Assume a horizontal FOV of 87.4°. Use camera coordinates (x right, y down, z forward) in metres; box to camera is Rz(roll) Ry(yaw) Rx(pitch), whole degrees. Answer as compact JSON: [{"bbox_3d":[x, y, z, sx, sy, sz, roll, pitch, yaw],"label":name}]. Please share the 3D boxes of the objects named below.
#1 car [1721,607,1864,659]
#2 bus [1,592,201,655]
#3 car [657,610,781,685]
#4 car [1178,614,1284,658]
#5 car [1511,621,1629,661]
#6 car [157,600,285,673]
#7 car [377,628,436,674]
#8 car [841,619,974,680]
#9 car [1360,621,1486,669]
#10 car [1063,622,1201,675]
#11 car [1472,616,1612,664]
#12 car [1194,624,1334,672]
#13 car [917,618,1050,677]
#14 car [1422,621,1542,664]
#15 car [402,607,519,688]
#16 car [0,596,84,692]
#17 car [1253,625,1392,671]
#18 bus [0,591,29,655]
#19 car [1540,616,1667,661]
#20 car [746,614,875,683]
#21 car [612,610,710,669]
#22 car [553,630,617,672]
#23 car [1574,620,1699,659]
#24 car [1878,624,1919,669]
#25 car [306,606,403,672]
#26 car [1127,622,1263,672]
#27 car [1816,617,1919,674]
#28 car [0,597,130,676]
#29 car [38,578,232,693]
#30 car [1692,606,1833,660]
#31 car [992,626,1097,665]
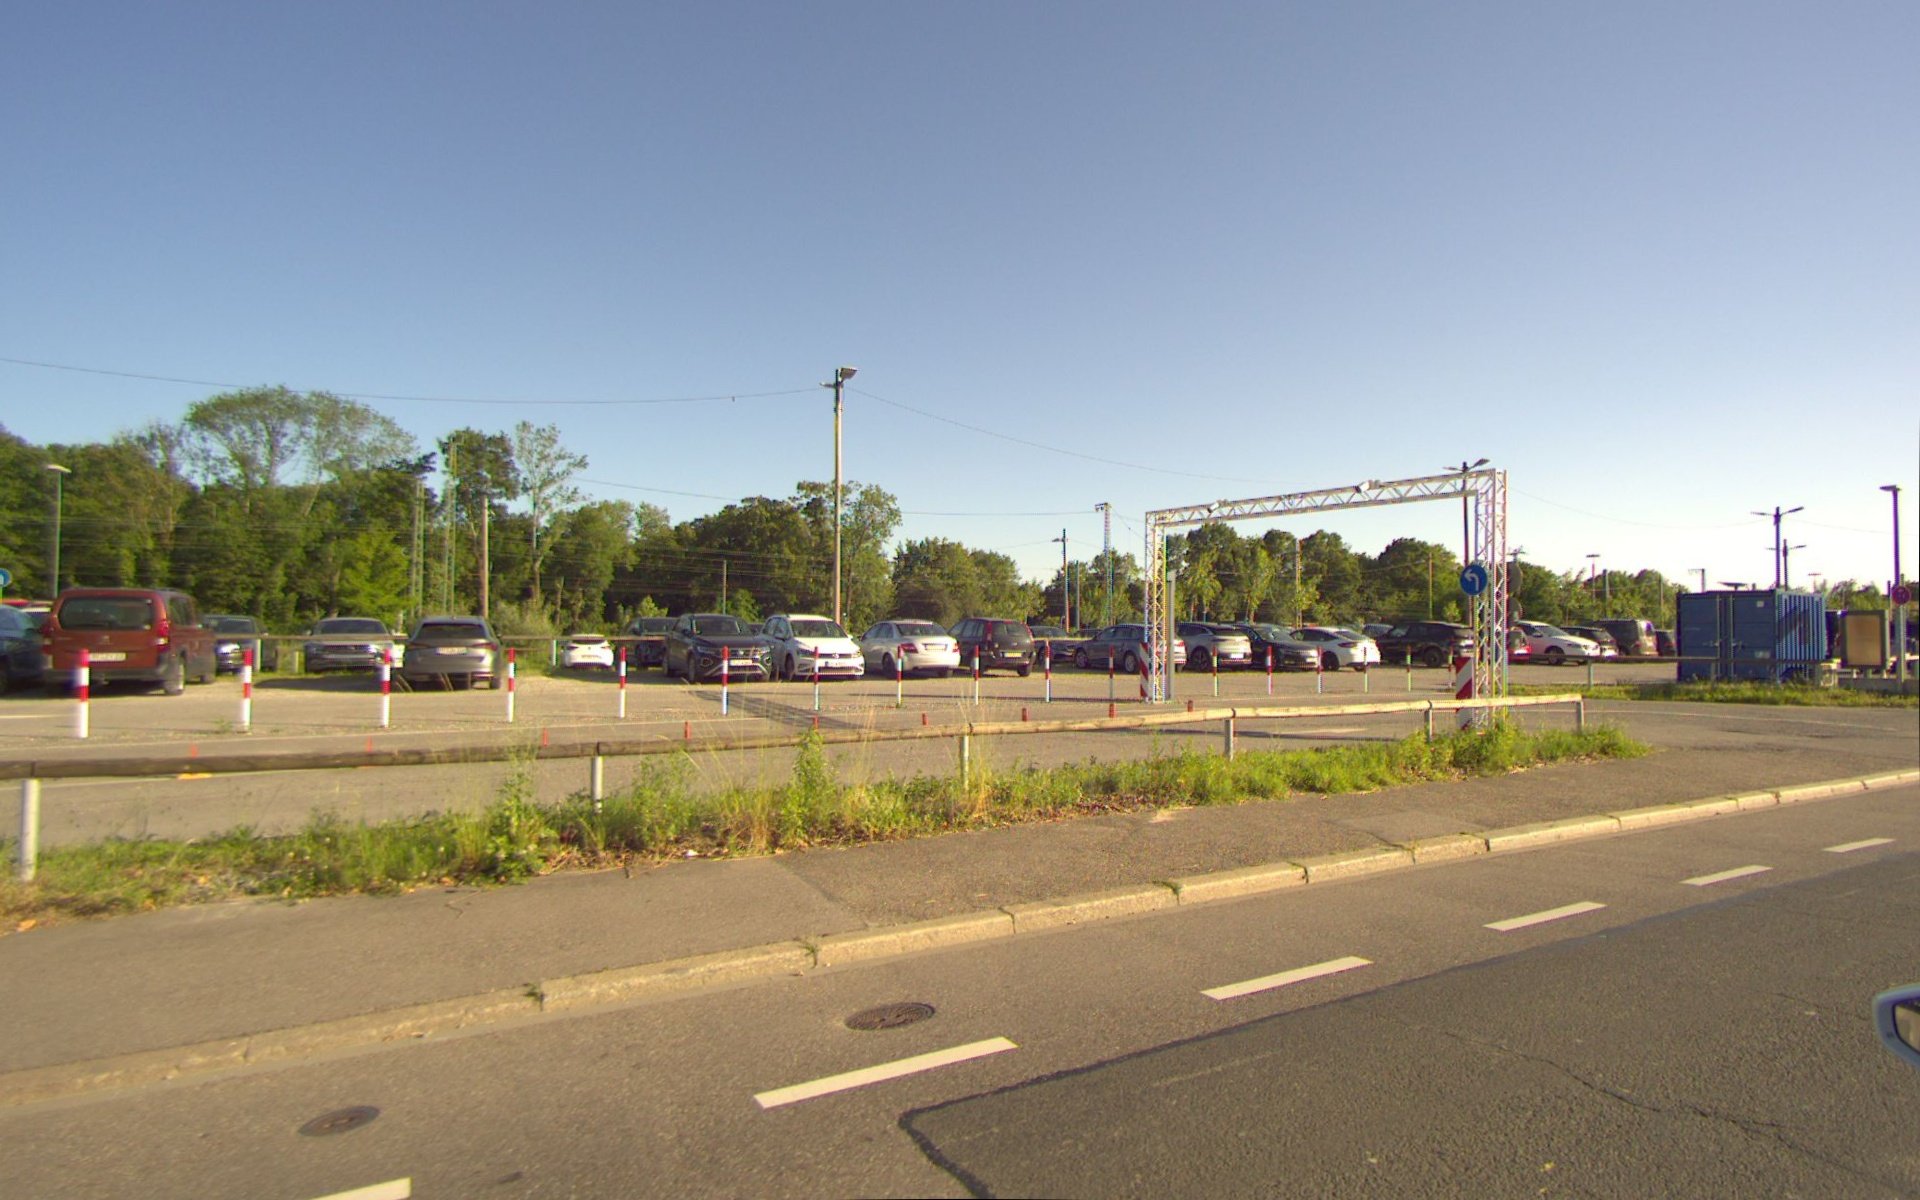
[{"bbox_3d":[41.653,1.604,50.379,2.292,2.492,5.074,1,-1,-29],"label":"car"},{"bbox_3d":[-33.850,0.968,39.849,5.519,2.379,2.530,1,-2,-28],"label":"bus"},{"bbox_3d":[-5.855,1.051,23.987,1.834,1.606,4.558,1,-1,-28],"label":"car"},{"bbox_3d":[10.517,1.360,39.215,1.855,1.625,3.867,1,-1,-28],"label":"car"},{"bbox_3d":[25.607,1.691,42.284,1.856,1.540,3.865,1,-1,-29],"label":"car"},{"bbox_3d":[-16.925,0.804,23.196,1.914,1.528,3.969,1,-1,-30],"label":"car"},{"bbox_3d":[-19.165,1.736,34.783,1.705,1.501,3.592,1,-2,-29],"label":"car"},{"bbox_3d":[-1.459,1.237,26.232,1.855,1.412,4.305,1,-1,-28],"label":"car"},{"bbox_3d":[16.932,1.593,36.882,1.856,1.625,3.865,1,-1,-29],"label":"car"},{"bbox_3d":[5.131,1.403,30.469,1.856,1.438,4.302,1,-1,-29],"label":"car"},{"bbox_3d":[23.234,1.557,40.303,2.030,1.764,4.567,1,-1,-25],"label":"car"},{"bbox_3d":[9.822,1.522,32.752,1.856,1.394,4.302,1,-1,-29],"label":"car"},{"bbox_3d":[0.547,1.248,27.878,1.855,1.482,4.305,1,-1,-28],"label":"car"},{"bbox_3d":[20.458,1.630,39.505,1.856,1.540,3.865,1,-1,-29],"label":"car"},{"bbox_3d":[-10.428,0.916,21.125,1.964,1.500,4.562,1,-1,-25],"label":"car"},{"bbox_3d":[-17.437,0.718,17.831,1.834,1.566,4.350,1,-1,-28],"label":"car"},{"bbox_3d":[12.267,1.590,34.245,1.856,1.394,4.302,1,-1,-29],"label":"car"},{"bbox_3d":[-38.955,0.828,37.106,6.127,2.379,2.530,1,-2,-28],"label":"bus"},{"bbox_3d":[27.857,1.614,43.595,1.856,1.815,4.302,1,-1,-29],"label":"car"},{"bbox_3d":[-3.819,1.132,25.013,1.855,1.544,4.305,1,-1,-28],"label":"car"},{"bbox_3d":[-8.560,1.069,28.501,1.855,1.544,4.305,1,-1,-28],"label":"car"},{"bbox_3d":[-14.210,1.893,37.948,1.705,1.501,3.592,1,-2,-29],"label":"car"},{"bbox_3d":[30.189,1.721,44.955,1.856,1.639,4.302,1,-1,-29],"label":"car"},{"bbox_3d":[35.345,1.648,35.015,1.976,1.578,4.574,1,-1,-29],"label":"car"},{"bbox_3d":[-14.678,0.908,24.515,1.872,1.485,3.969,1,-1,-30],"label":"car"},{"bbox_3d":[7.436,1.449,32.182,1.856,1.438,4.302,1,-1,-29],"label":"car"},{"bbox_3d":[32.403,1.532,34.050,1.976,1.859,4.824,1,-1,-29],"label":"car"},{"bbox_3d":[-19.879,0.754,21.929,1.834,1.566,4.350,1,-1,-28],"label":"car"},{"bbox_3d":[-14.979,0.603,18.531,1.834,1.829,4.558,1,-1,-28],"label":"car"},{"bbox_3d":[39.255,1.557,49.269,2.292,2.492,4.904,1,-1,-29],"label":"car"},{"bbox_3d":[2.861,1.536,34.878,1.855,1.203,3.846,1,-1,-28],"label":"car"}]
